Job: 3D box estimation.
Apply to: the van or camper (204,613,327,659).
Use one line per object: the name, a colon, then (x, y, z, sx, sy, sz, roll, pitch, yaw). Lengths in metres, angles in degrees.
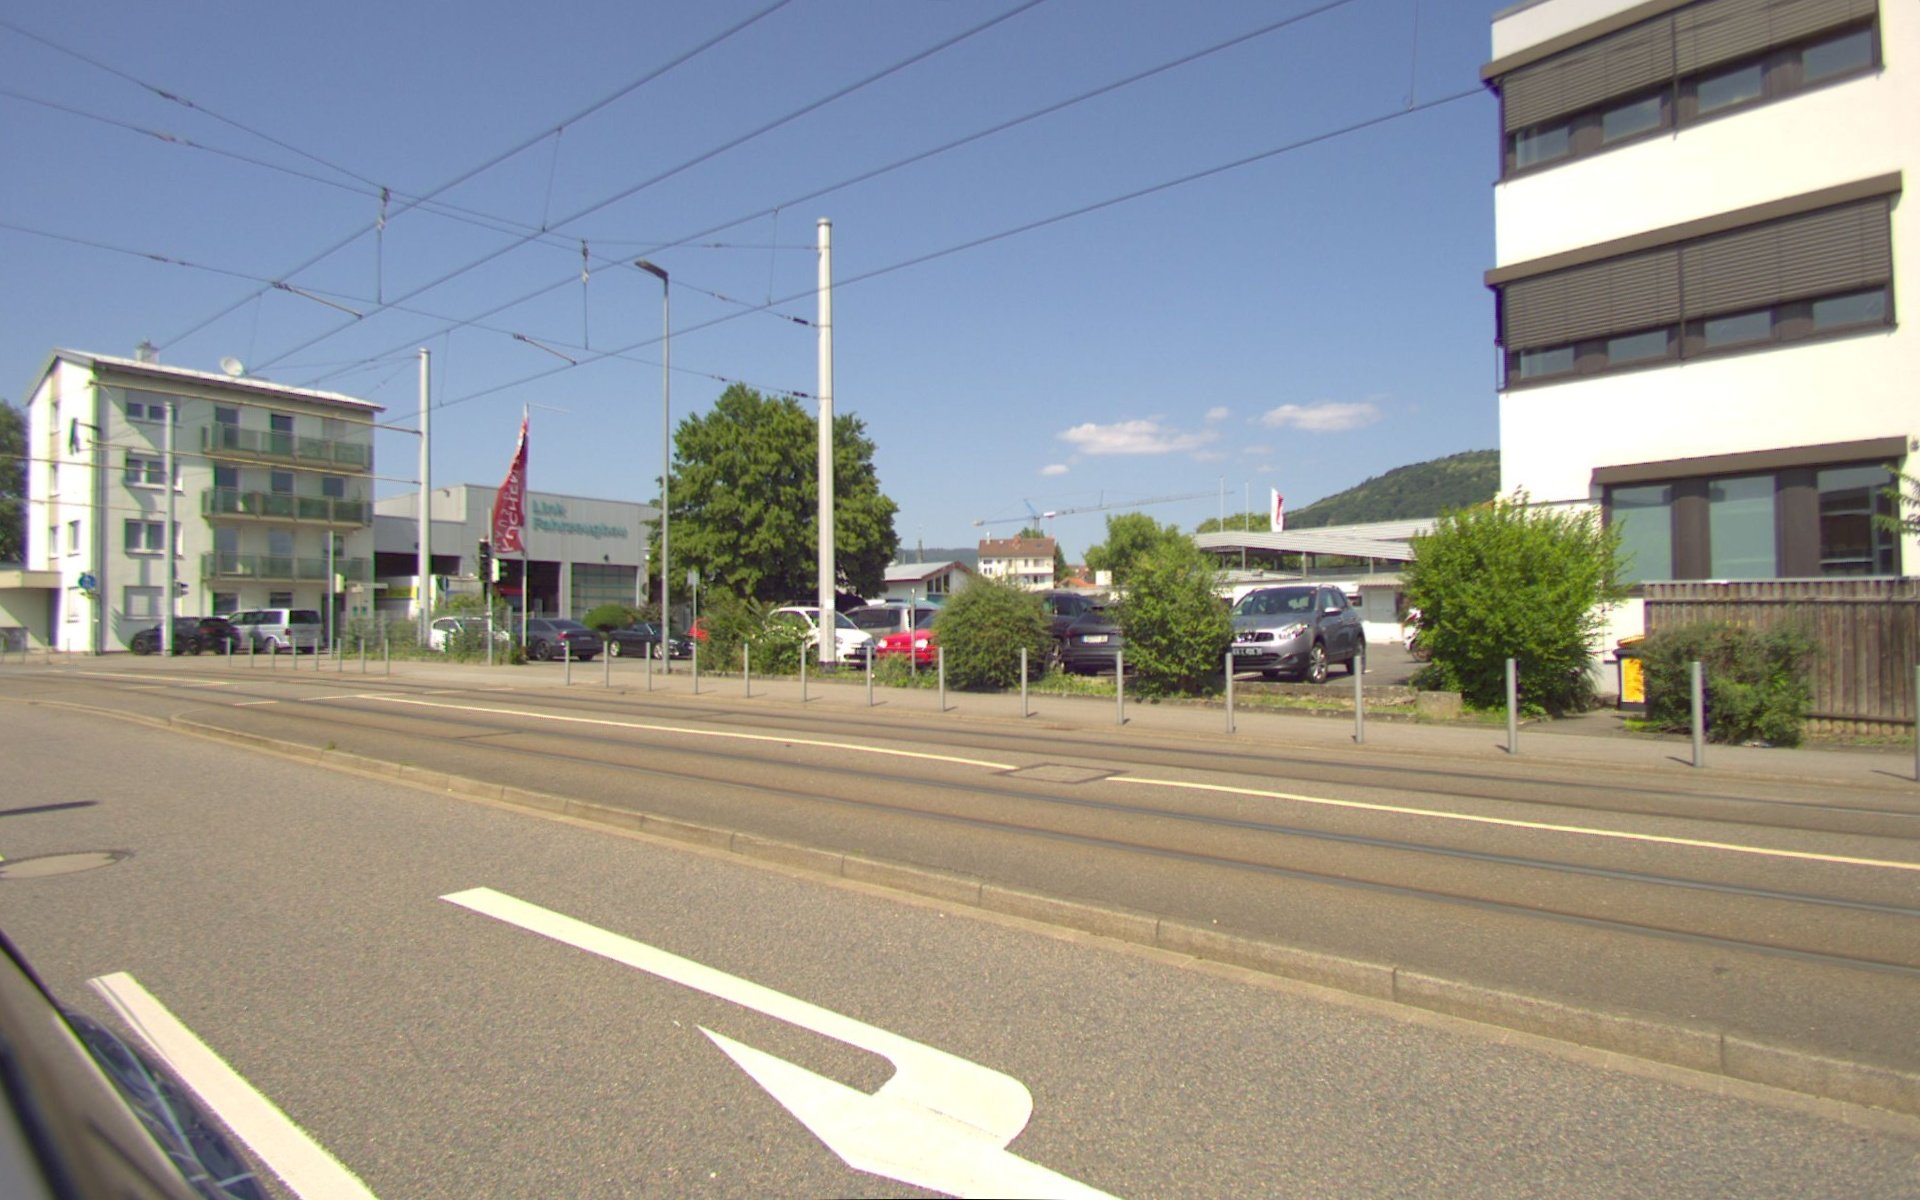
van or camper: (-29.951, 1.529, 43.685, 4.516, 1.922, 1.989, 0, -2, 17)

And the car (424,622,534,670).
car: (-15.573, 1.434, 32.684, 3.950, 1.444, 1.691, -1, -1, 39)

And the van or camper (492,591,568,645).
van or camper: (-26.794, 1.155, 62.982, 5.047, 3.230, 1.976, -2, -2, 35)

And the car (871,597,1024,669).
car: (-0.397, 0.875, 27.317, 1.970, 1.798, 4.004, 0, -2, -43)

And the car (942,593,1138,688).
car: (1.690, 0.763, 20.450, 1.999, 1.719, 3.945, -2, -2, 41)

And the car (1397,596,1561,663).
car: (12.298, 0.737, 24.092, 1.400, 1.437, 3.134, 0, -4, -44)

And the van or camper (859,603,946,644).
van or camper: (-3.045, 1.255, 52.759, 1.971, 2.023, 4.646, 1, -2, -45)

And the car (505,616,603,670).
car: (-13.833, 1.487, 34.381, 1.743, 1.633, 3.839, 0, -4, -44)

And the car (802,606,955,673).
car: (-2.139, 0.994, 25.816, 1.829, 1.580, 3.939, 1, -2, -43)

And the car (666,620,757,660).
car: (-10.680, 1.706, 43.402, 3.830, 1.605, 1.834, -2, -1, 37)

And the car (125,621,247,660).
car: (-31.670, 1.661, 41.427, 3.932, 1.532, 1.873, -1, -2, 12)

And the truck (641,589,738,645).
truck: (-19.584, 1.277, 73.090, 7.849, 3.810, 2.591, -1, -2, 38)

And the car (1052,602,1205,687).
car: (3.214, 0.779, 18.916, 1.544, 1.433, 3.359, -2, -1, 34)

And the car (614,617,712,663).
car: (-11.241, 1.500, 38.236, 3.835, 1.633, 1.831, -2, -3, 42)

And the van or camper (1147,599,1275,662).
van or camper: (9.860, 1.199, 39.972, 4.602, 2.323, 1.756, -2, -2, 43)

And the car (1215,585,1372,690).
car: (5.607, 0.580, 16.773, 1.471, 1.540, 3.592, -2, -1, 35)

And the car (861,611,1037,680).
car: (-0.169, 0.940, 22.055, 1.748, 1.381, 3.783, -2, -2, 42)

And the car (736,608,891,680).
car: (-3.516, 1.011, 23.845, 1.715, 1.553, 3.839, 1, -2, -44)
